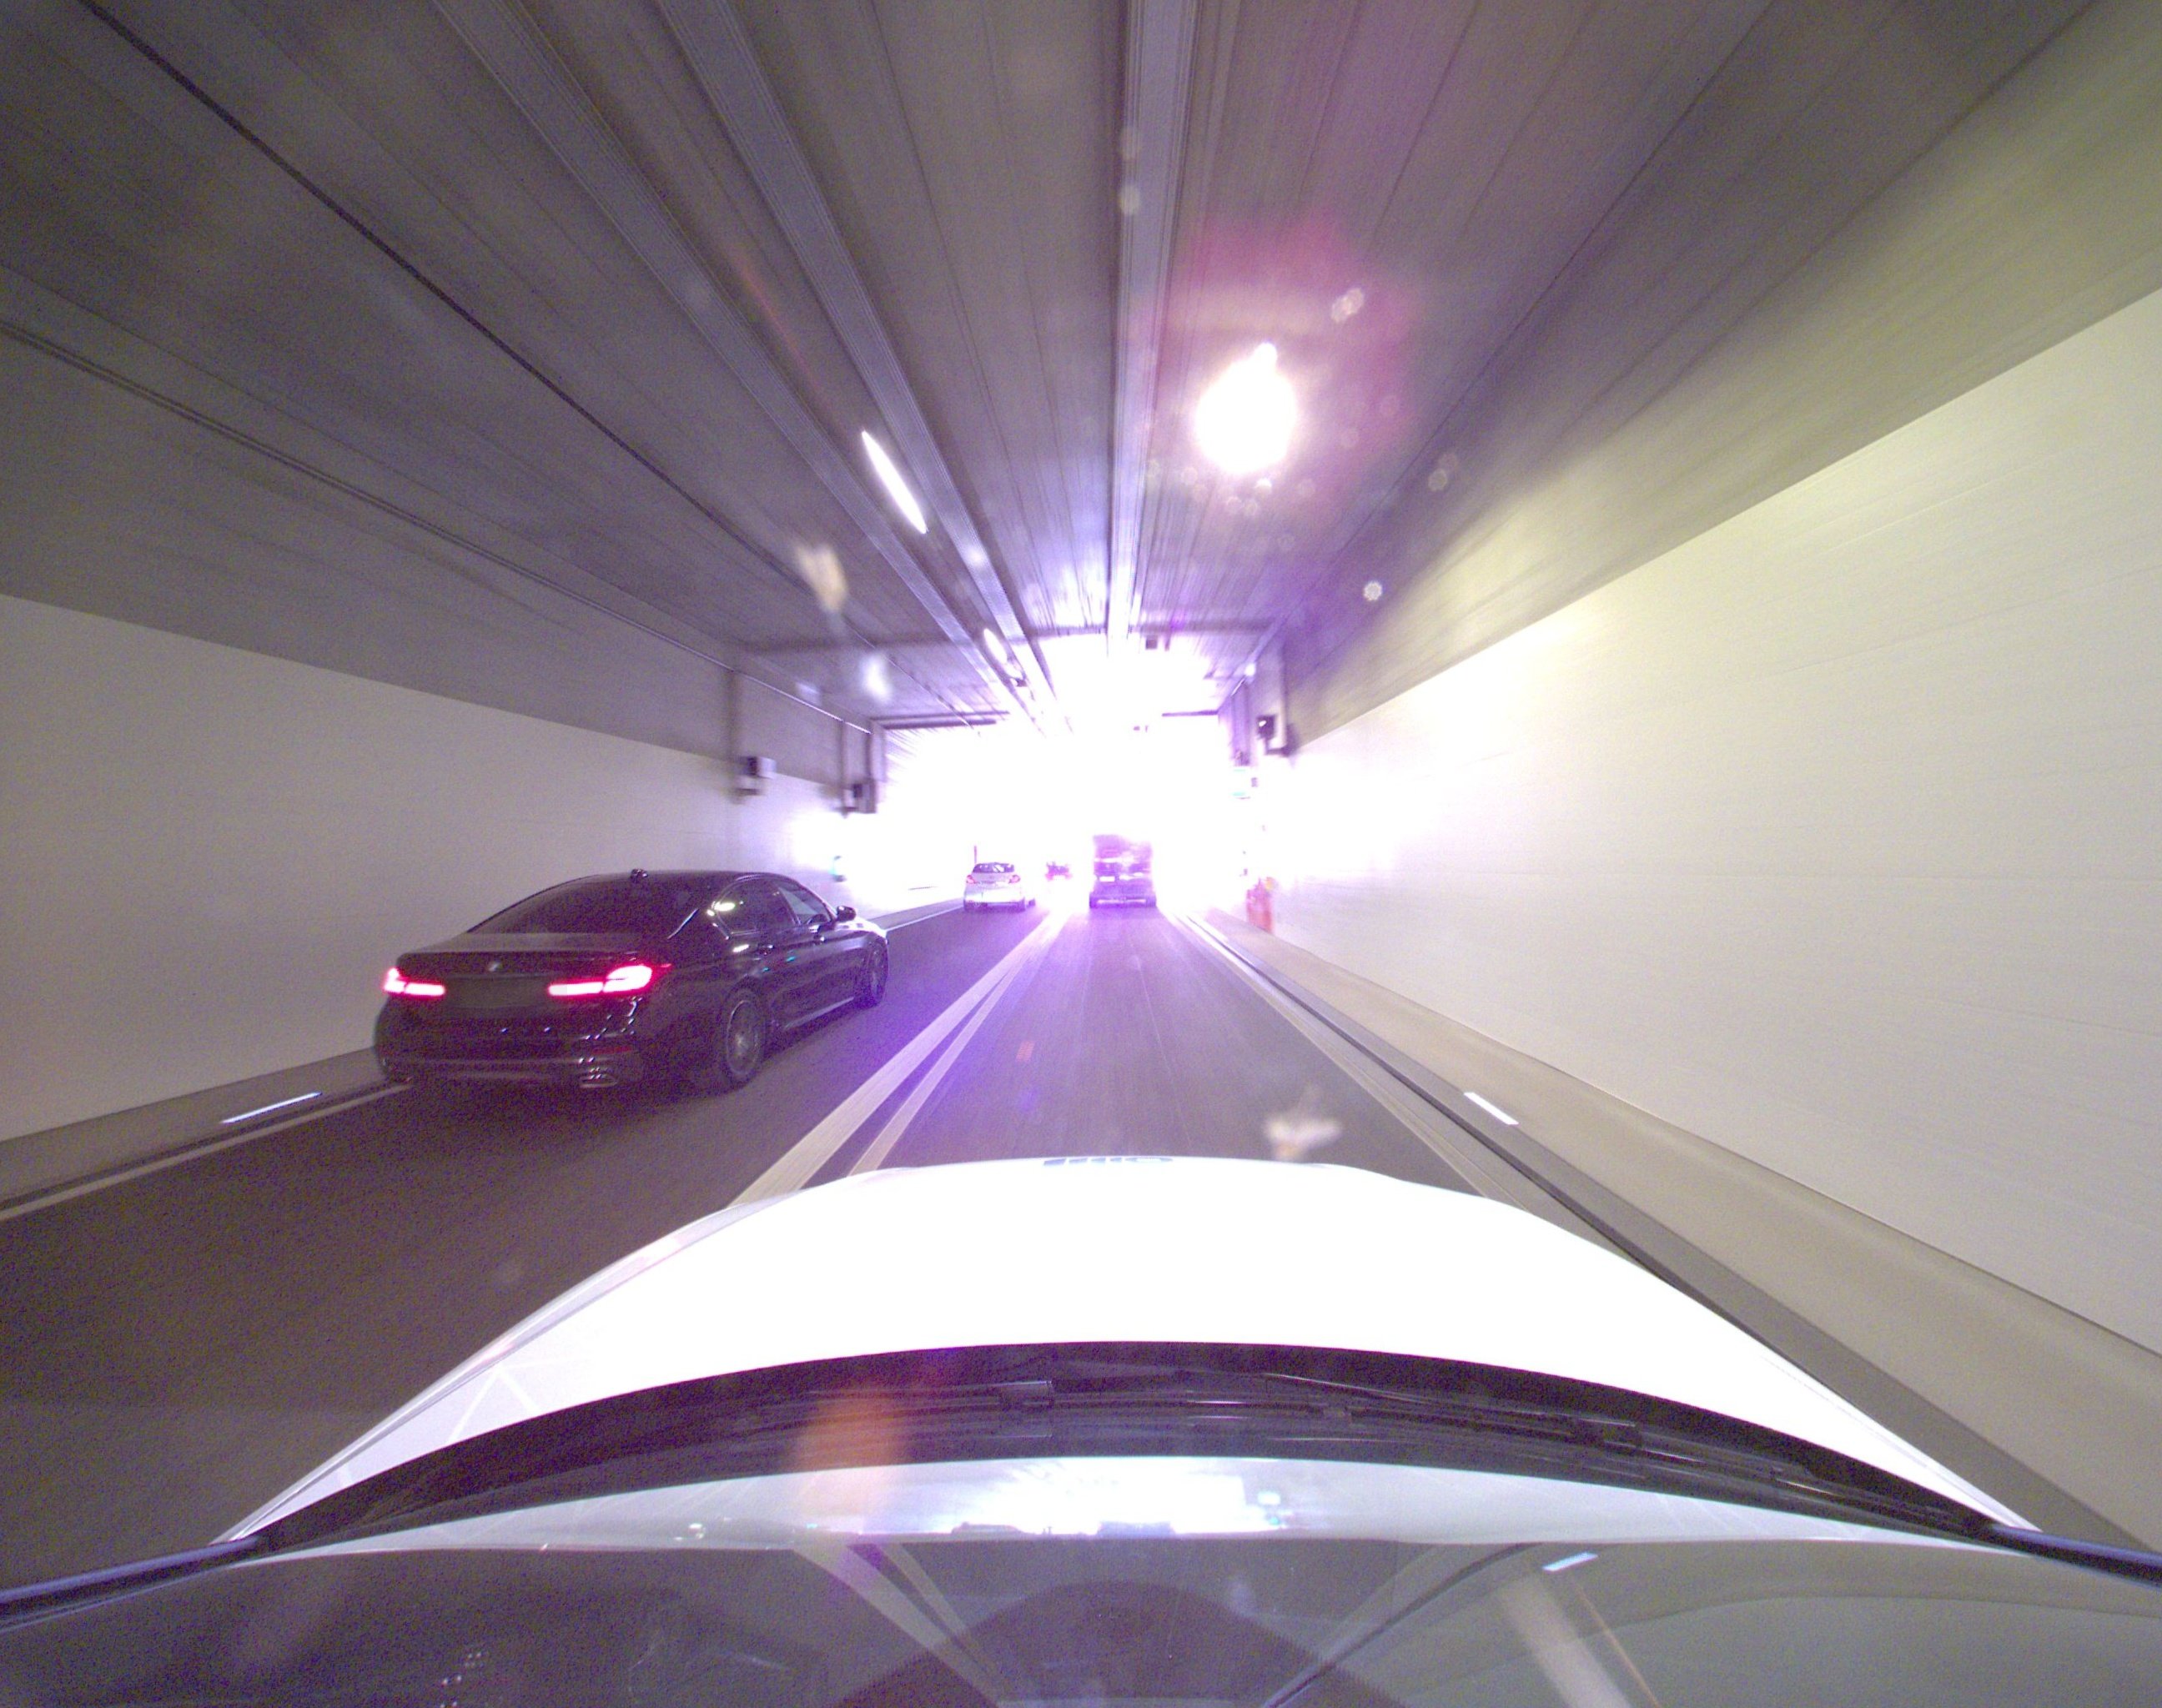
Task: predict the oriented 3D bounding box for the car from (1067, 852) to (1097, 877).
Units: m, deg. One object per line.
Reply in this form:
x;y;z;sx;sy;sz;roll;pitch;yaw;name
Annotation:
0.105;0.689;53.577;1.870;1.582;4.220;-1;-1;1;car

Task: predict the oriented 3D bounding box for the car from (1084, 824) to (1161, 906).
1.286;0.293;25.473;2.149;2.266;4.640;-1;0;3;car

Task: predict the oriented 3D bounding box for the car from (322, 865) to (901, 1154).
-3.000;0.847;6.670;1.689;1.422;4.855;-1;0;3;car

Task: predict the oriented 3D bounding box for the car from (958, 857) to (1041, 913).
-2.245;0.827;23.477;1.701;1.413;3.978;-2;0;4;car

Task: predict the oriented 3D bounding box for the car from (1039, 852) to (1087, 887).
-0.792;0.676;38.246;1.806;1.512;4.226;-1;0;4;car
